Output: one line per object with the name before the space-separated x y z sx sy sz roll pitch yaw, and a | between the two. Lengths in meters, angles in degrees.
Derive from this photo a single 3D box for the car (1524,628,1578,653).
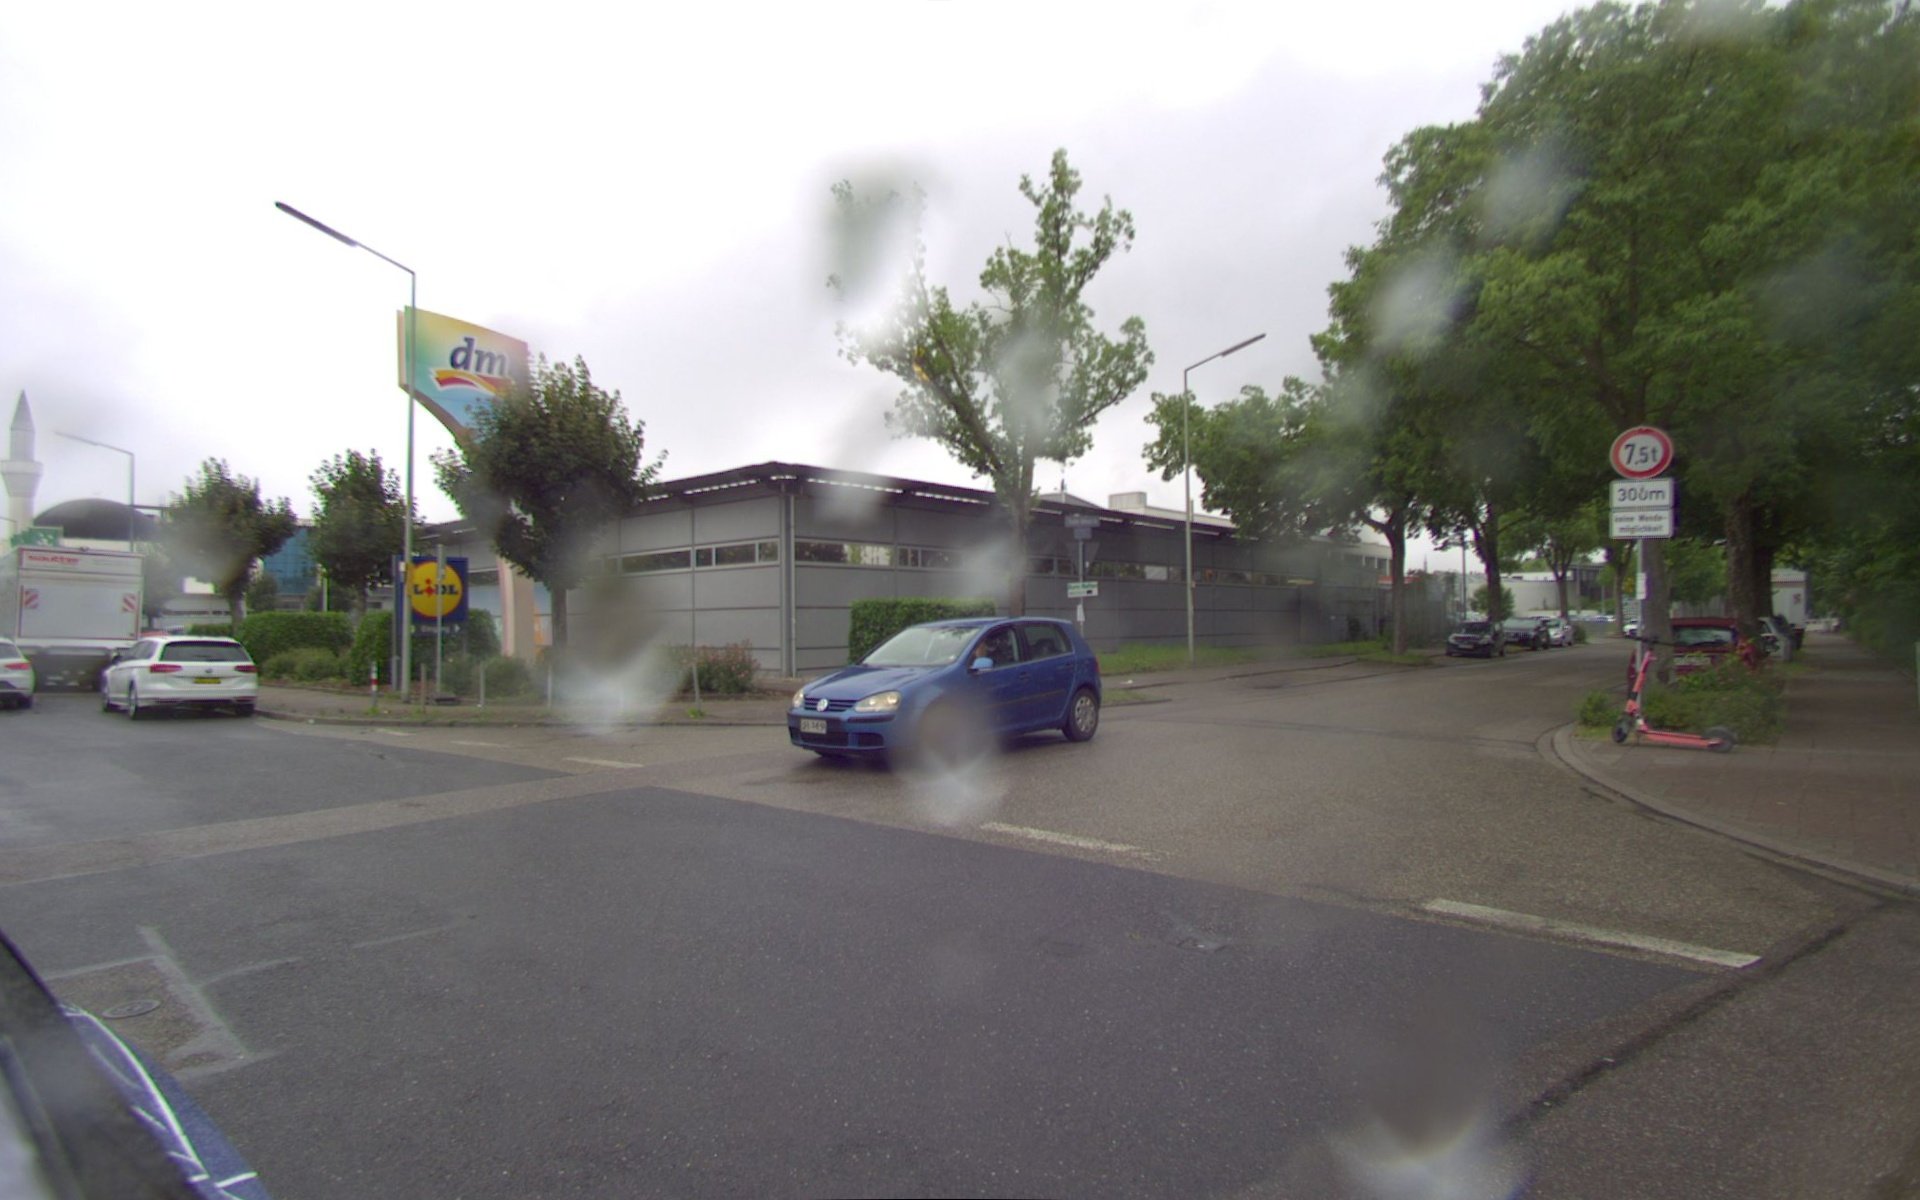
car | 30.748 2.079 52.592 1.570 1.212 3.943 -2 -2 43

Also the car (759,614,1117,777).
car | -0.085 0.929 11.097 1.735 1.452 3.945 -3 -3 41

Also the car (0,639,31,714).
car | -20.426 1.536 20.637 3.997 1.452 1.713 -3 -3 41

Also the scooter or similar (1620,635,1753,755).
scooter or similar | 7.574 0.965 10.583 0.280 1.184 1.061 1 -2 -41

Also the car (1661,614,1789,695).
car | 15.287 1.060 20.150 1.735 1.452 3.945 -3 -3 41

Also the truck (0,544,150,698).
truck | -25.365 0.649 28.477 7.866 3.775 2.850 -2 -2 43

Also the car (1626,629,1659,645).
car | 53.480 2.913 79.254 1.570 1.212 3.943 -2 -2 43

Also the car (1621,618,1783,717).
car | 11.913 1.019 16.154 1.735 1.374 3.945 -3 -3 41

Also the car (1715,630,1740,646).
car | 77.416 3.809 102.086 1.923 1.584 3.948 -2 -2 39

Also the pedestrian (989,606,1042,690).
pedestrian | 1.128 0.974 20.700 0.758 1.686 0.772 -2 -2 39

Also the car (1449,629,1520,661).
car | 21.340 1.784 41.124 1.570 1.212 3.943 -2 -2 43

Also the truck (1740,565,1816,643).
truck | 39.516 0.246 48.823 2.601 3.496 6.722 -2 -2 40

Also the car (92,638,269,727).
car | -14.594 1.456 18.855 4.490 1.445 1.816 -2 -4 42

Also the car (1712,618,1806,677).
car | 21.211 1.236 26.822 1.735 1.452 3.945 -3 -3 41

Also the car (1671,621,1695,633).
car | 76.111 2.822 106.485 1.570 1.212 3.943 -2 -2 43

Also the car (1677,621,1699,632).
car | 82.715 2.992 114.938 1.570 1.212 3.943 -2 -2 43
